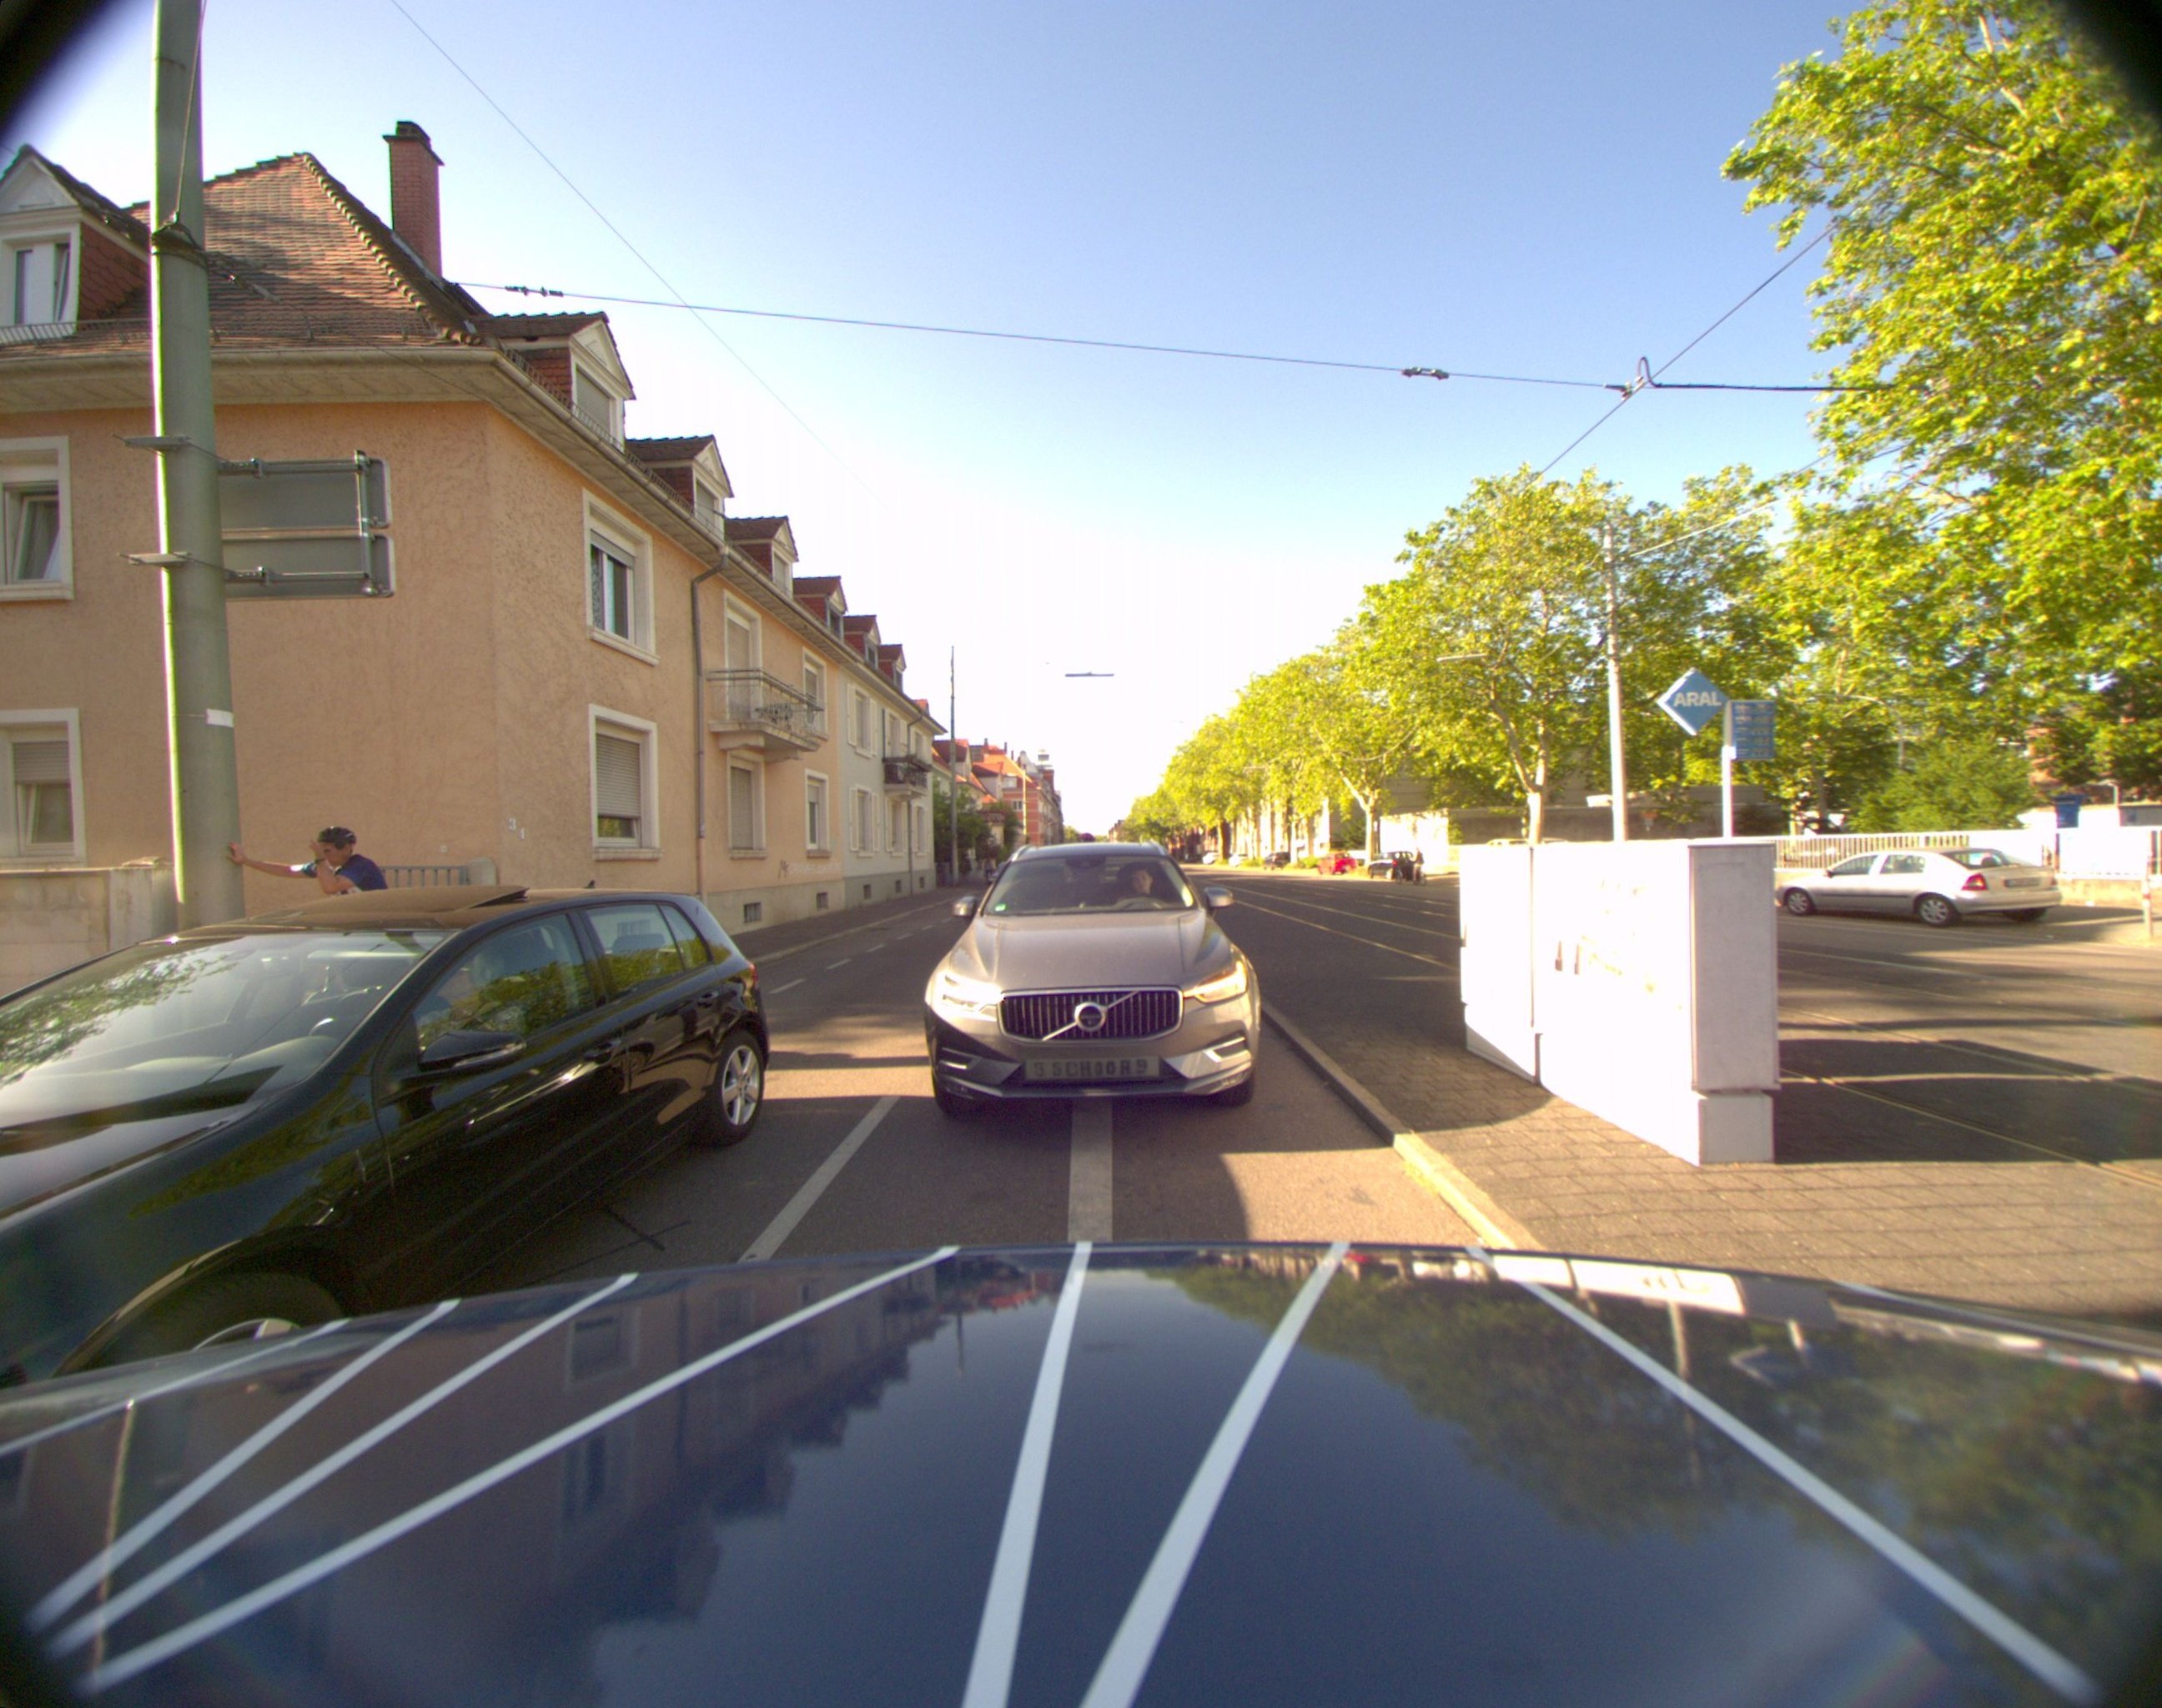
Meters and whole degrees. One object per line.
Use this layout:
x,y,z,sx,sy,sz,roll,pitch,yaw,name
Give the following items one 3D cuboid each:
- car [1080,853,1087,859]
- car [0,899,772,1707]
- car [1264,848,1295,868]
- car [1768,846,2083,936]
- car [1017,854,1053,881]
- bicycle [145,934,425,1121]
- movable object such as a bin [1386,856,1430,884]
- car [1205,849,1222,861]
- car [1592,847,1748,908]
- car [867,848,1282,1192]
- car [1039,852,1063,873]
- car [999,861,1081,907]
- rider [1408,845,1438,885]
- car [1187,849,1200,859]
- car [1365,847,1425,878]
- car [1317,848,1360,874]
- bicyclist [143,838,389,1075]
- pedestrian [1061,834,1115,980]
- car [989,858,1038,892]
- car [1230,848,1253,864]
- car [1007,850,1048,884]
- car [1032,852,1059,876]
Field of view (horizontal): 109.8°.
0.734,0.597,223.084,1.851,1.640,3.999,-2,1,1,car
-2.784,1.041,2.608,1.717,1.430,3.990,-2,1,1,car
17.202,0.317,65.956,1.754,1.582,3.878,-4,1,3,car
16.193,0.627,14.945,1.687,1.358,3.989,-6,0,1,car
-2.800,0.795,46.932,1.825,1.424,4.334,-2,1,1,car
-6.009,1.247,5.882,0.556,1.069,1.624,2,0,-7,bicycle
14.404,0.687,33.534,1.177,1.097,1.835,-2,1,2,movable object such as a bin
17.564,0.094,100.674,1.661,1.452,3.730,-4,1,3,car
16.403,0.593,21.405,1.619,1.436,3.606,-4,1,3,car
0.118,0.795,5.809,1.924,1.579,4.387,-2,1,4,car
-2.603,0.689,67.271,1.825,1.701,4.334,-2,1,1,car
-1.308,0.979,26.515,1.824,1.422,4.494,-2,-1,10,car
14.420,0.444,32.055,0.725,1.639,1.106,-2,1,2,rider
18.543,0.050,125.550,1.661,1.452,3.730,-4,1,3,car
16.896,0.435,41.086,1.723,1.436,3.769,-4,1,3,car
16.900,0.451,50.011,1.661,1.486,3.377,-4,1,3,car
-6.207,0.748,5.848,1.021,1.684,0.729,2,0,-7,bicyclist
0.090,0.671,9.908,0.609,1.832,0.599,-2,1,1,pedestrian
-3.238,0.959,37.131,1.825,1.422,4.334,-2,1,1,car
17.611,0.239,83.460,1.754,1.532,3.878,-4,1,3,car
-2.914,0.684,42.386,1.825,1.701,4.334,-2,1,1,car
-2.790,0.768,60.905,1.825,1.701,4.334,-2,1,1,car
